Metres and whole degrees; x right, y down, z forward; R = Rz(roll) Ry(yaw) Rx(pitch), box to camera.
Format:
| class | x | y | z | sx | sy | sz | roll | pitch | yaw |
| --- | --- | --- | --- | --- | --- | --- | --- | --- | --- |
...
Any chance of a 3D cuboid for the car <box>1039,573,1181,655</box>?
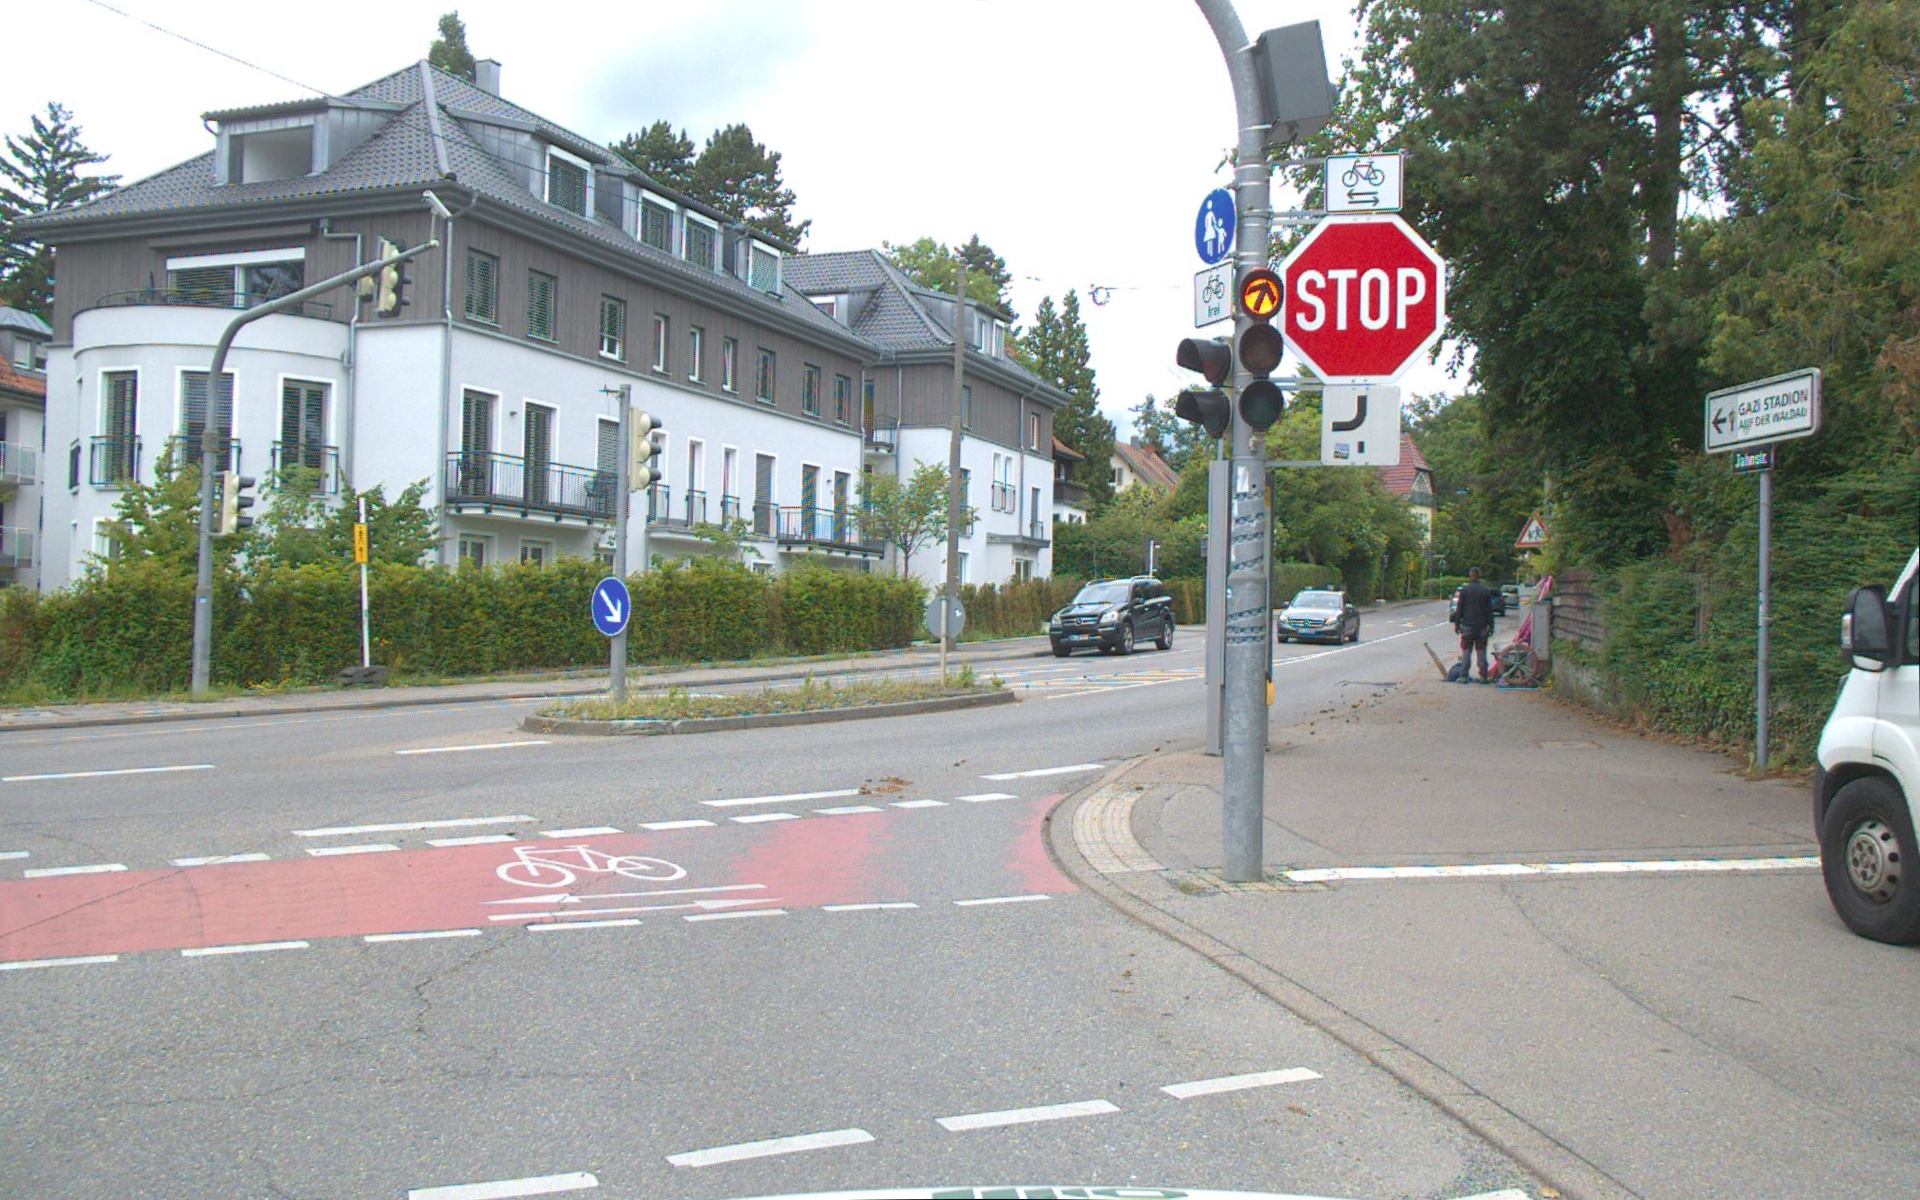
| class | x | y | z | sx | sy | sz | roll | pitch | yaw |
| --- | --- | --- | --- | --- | --- | --- | --- | --- | --- |
| car | 3.819 | 0.343 | 41.156 | 1.874 | 1.913 | 5.138 | -1 | -1 | 25 |

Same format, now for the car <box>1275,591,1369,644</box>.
| class | x | y | z | sx | sy | sz | roll | pitch | yaw |
| --- | --- | --- | --- | --- | --- | --- | --- | --- | --- |
| car | 10.554 | 0.465 | 47.986 | 1.899 | 1.428 | 4.742 | 1 | 1 | 22 |

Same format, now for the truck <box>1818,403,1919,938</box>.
| class | x | y | z | sx | sy | sz | roll | pitch | yaw |
| --- | --- | --- | --- | --- | --- | --- | --- | --- | --- |
| truck | 5.140 | 0.316 | 5.028 | 2.162 | 2.283 | 5.724 | 1 | 0 | 1 |

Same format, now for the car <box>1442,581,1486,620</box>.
| class | x | y | z | sx | sy | sz | roll | pitch | yaw |
| --- | --- | --- | --- | --- | --- | --- | --- | --- | --- |
| car | 23.723 | 0.022 | 77.808 | 1.770 | 1.784 | 4.488 | -1 | 0 | 19 |

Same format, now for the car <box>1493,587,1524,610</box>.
| class | x | y | z | sx | sy | sz | roll | pitch | yaw |
| --- | --- | --- | --- | --- | --- | --- | --- | --- | --- |
| car | 35.549 | -0.097 | 107.164 | 1.659 | 1.455 | 3.747 | -1 | 0 | 23 |

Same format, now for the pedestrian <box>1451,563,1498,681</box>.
| class | x | y | z | sx | sy | sz | roll | pitch | yaw |
| --- | --- | --- | --- | --- | --- | --- | --- | --- | --- |
| pedestrian | 8.548 | 0.359 | 27.484 | 0.584 | 1.940 | 0.558 | 1 | 0 | 0 |

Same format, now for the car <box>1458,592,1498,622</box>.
| class | x | y | z | sx | sy | sz | roll | pitch | yaw |
| --- | --- | --- | --- | --- | --- | --- | --- | --- | --- |
| car | 28.009 | 0.380 | 89.300 | 1.763 | 1.553 | 4.743 | -1 | 0 | 21 |
